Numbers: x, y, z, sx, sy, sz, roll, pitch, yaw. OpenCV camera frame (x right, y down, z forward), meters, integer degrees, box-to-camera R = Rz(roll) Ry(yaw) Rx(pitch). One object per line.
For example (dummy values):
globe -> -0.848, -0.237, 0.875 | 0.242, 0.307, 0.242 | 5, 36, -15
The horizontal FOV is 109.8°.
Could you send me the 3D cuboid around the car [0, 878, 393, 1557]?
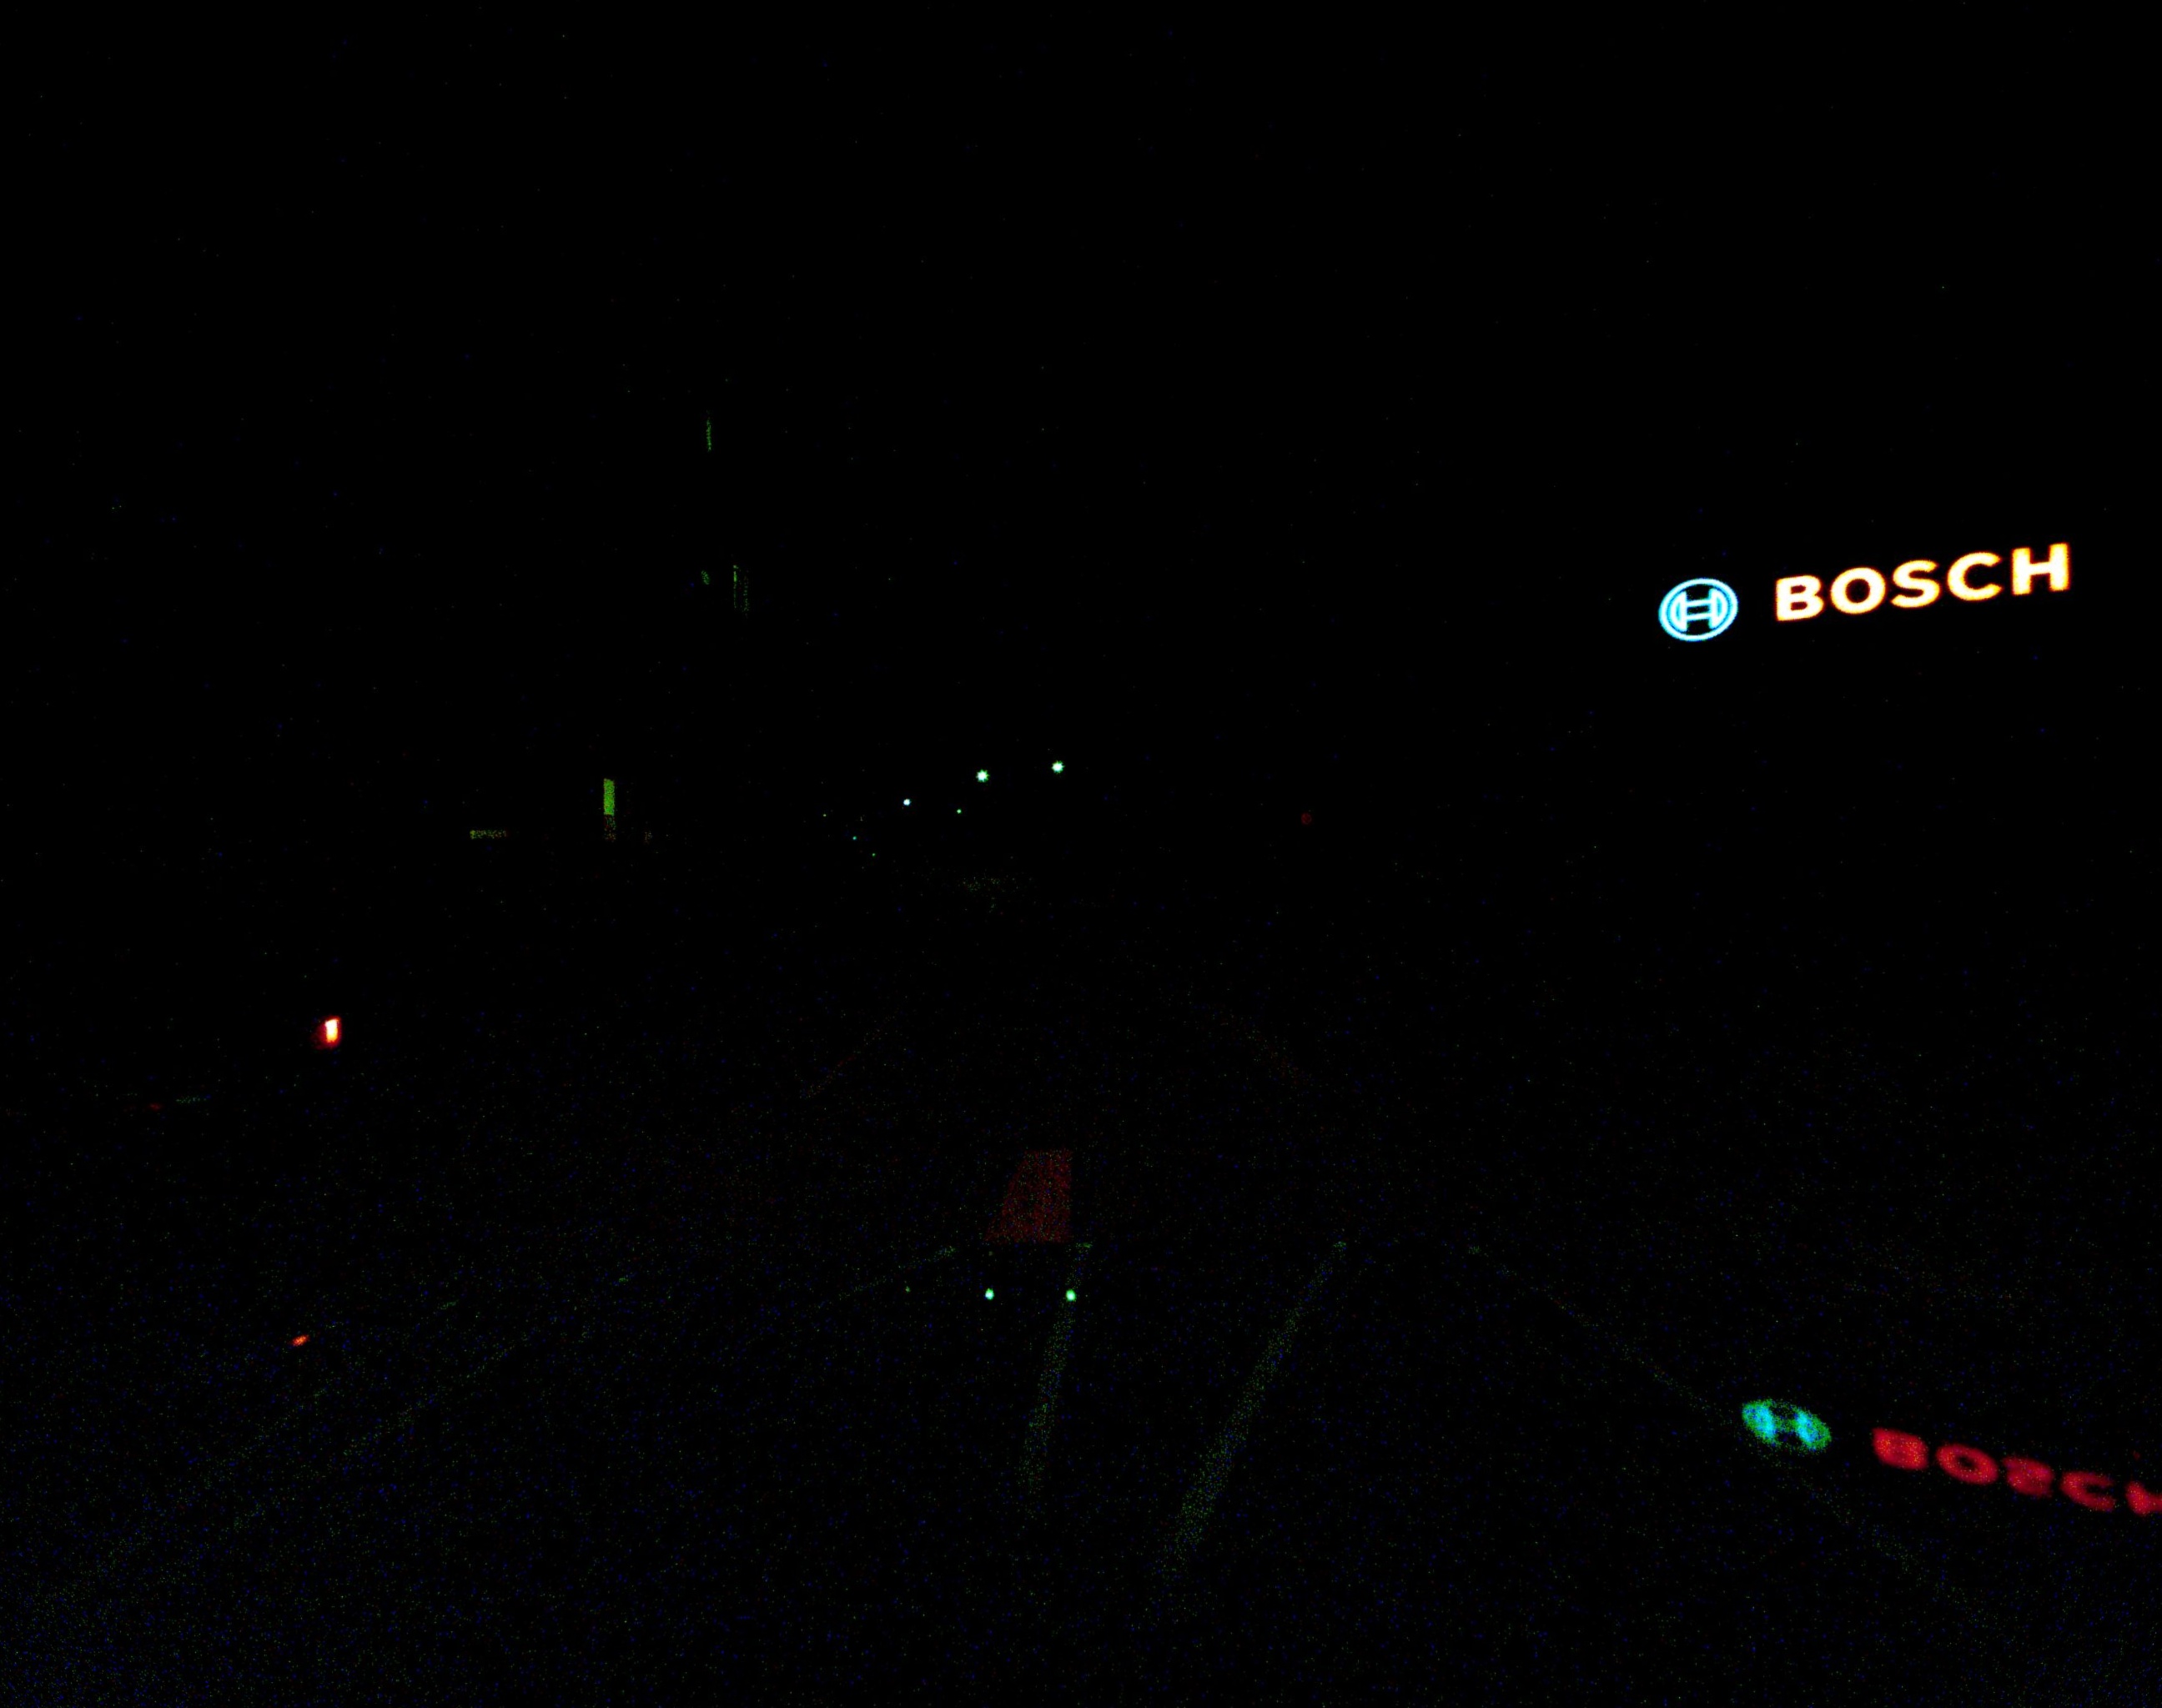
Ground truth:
car -> -3.463, 0.948, 0.767 | 1.674, 1.601, 4.228 | -1, 1, -1
